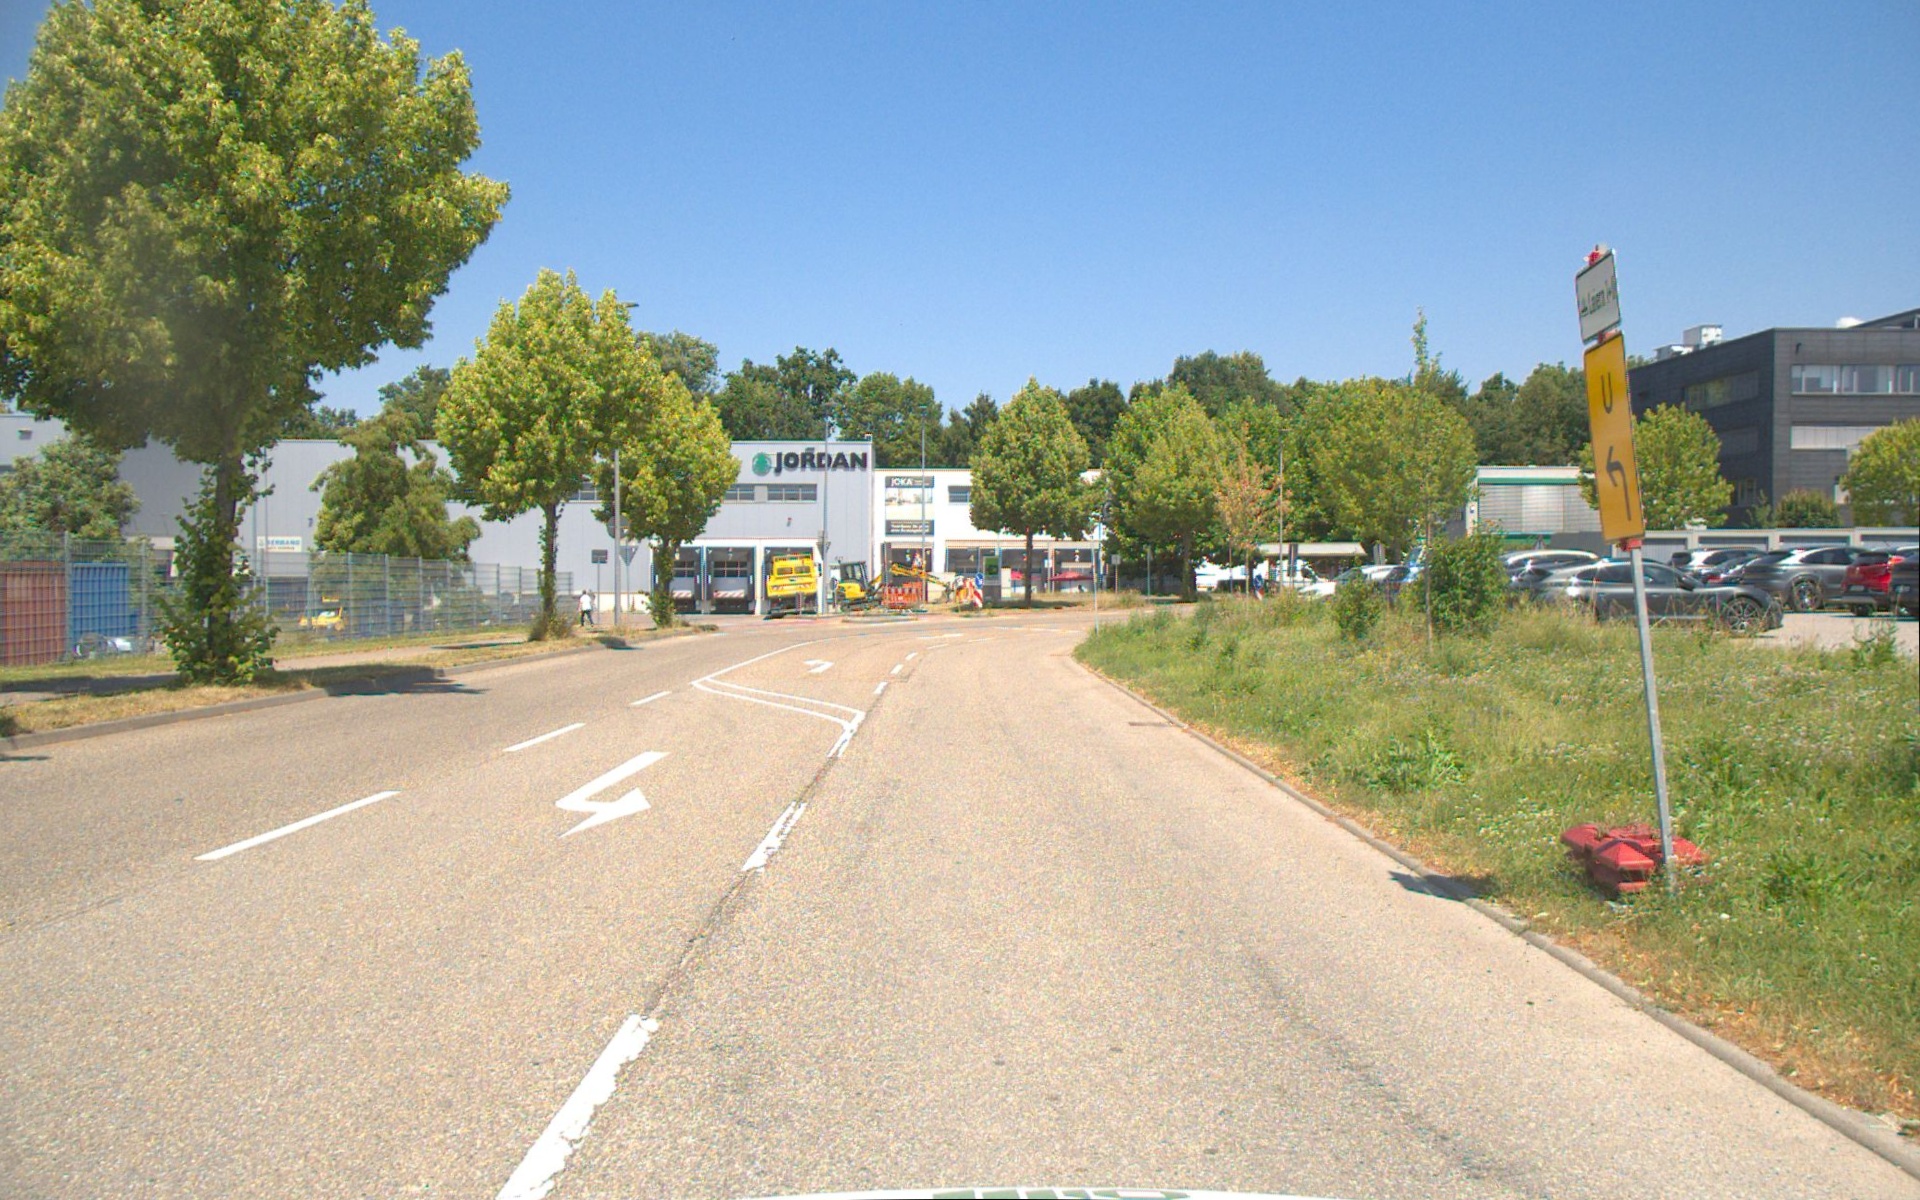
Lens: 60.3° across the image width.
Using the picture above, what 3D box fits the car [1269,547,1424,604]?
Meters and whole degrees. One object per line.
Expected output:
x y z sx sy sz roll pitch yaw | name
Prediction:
11.266 -0.727 48.389 4.081 1.424 1.768 -2 4 -4 | car

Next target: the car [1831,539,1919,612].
22.280 -0.605 37.743 3.908 1.486 1.768 -2 4 -4 | car

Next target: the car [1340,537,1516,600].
12.239 -0.851 43.372 4.081 1.424 1.768 -2 4 -4 | car

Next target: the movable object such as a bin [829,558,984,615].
-2.663 -0.707 84.616 7.366 2.542 3.671 -1 4 7 | movable object such as a bin

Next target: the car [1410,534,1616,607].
12.526 -0.690 37.587 4.081 1.424 1.768 -2 4 -4 | car

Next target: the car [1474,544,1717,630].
12.366 -0.288 32.330 4.081 1.424 1.768 -2 4 -4 | car

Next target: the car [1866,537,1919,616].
21.560 -0.558 34.945 3.908 1.515 1.768 -2 4 -4 | car

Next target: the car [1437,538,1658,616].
12.456 -0.508 35.201 4.081 1.424 1.768 -2 4 -4 | car

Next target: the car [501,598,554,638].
-21.573 0.886 82.599 1.956 1.578 3.996 -2 4 -7 | car

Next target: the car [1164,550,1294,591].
15.129 -1.643 93.235 7.022 2.124 2.001 -1 0 2 | car

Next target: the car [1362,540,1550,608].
12.196 -0.665 40.801 4.081 1.424 1.768 -2 4 -4 | car

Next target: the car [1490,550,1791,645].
12.092 -0.075 29.624 4.606 1.424 1.923 -2 4 1 | car

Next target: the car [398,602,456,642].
-26.442 1.063 82.183 1.956 1.578 3.996 -2 4 -7 | car

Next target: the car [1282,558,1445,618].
11.264 -0.349 46.271 4.081 1.424 1.768 -2 4 -4 | car

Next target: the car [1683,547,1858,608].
21.916 -0.624 44.805 3.908 1.424 1.768 -2 4 -4 | car

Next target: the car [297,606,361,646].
-31.050 1.258 81.483 1.956 1.578 3.996 -2 4 -7 | car

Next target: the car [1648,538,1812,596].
22.046 -0.960 47.425 3.908 1.424 1.768 -2 4 -4 | car

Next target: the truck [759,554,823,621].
-8.632 -0.700 84.013 2.884 2.935 5.800 -2 4 -9 | truck

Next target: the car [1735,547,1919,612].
22.008 -0.542 41.948 3.908 1.424 1.768 -2 4 -4 | car
